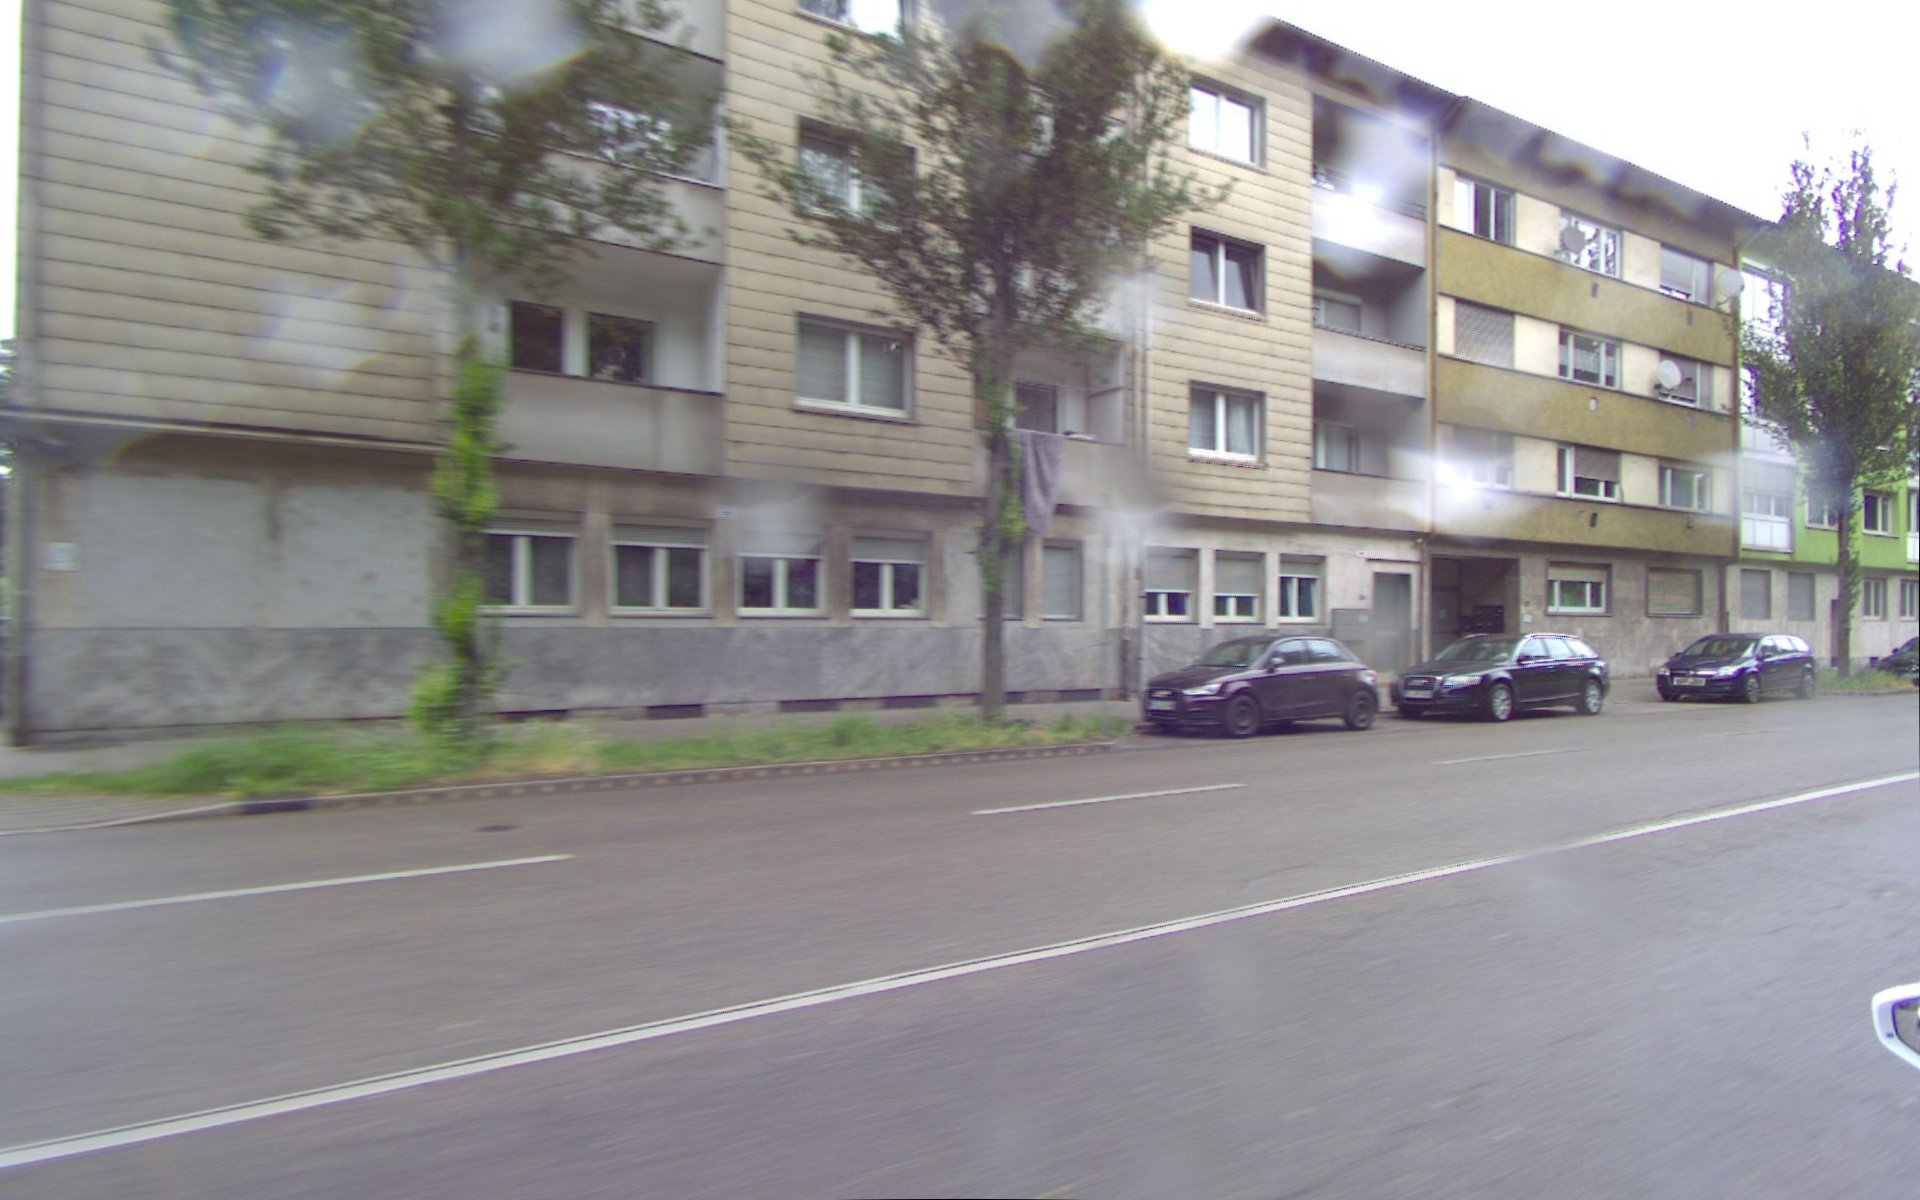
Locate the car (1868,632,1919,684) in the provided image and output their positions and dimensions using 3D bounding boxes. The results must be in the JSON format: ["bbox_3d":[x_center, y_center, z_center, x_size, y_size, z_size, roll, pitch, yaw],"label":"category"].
[{"bbox_3d":[27.444,1.574,28.055,4.626,1.390,1.809,1,-3,-31],"label":"car"}]

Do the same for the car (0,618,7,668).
[{"bbox_3d":[-31.053,1.273,29.772,3.921,1.502,1.692,0,-1,-1],"label":"car"}]

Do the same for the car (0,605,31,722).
[{"bbox_3d":[-13.603,0.852,12.630,1.903,1.600,4.131,0,-1,-30],"label":"car"}]

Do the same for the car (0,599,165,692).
[{"bbox_3d":[-17.356,0.848,20.027,1.689,1.653,3.970,0,-1,-29],"label":"car"}]

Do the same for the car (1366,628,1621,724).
[{"bbox_3d":[9.511,1.269,17.806,4.735,1.508,1.809,1,-3,-31],"label":"car"}]

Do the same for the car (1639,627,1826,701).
[{"bbox_3d":[17.359,1.382,22.521,4.460,1.508,1.711,1,-3,-30],"label":"car"}]

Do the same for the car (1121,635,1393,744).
[{"bbox_3d":[4.457,1.242,14.953,3.941,1.405,1.618,1,-2,-30],"label":"car"}]
